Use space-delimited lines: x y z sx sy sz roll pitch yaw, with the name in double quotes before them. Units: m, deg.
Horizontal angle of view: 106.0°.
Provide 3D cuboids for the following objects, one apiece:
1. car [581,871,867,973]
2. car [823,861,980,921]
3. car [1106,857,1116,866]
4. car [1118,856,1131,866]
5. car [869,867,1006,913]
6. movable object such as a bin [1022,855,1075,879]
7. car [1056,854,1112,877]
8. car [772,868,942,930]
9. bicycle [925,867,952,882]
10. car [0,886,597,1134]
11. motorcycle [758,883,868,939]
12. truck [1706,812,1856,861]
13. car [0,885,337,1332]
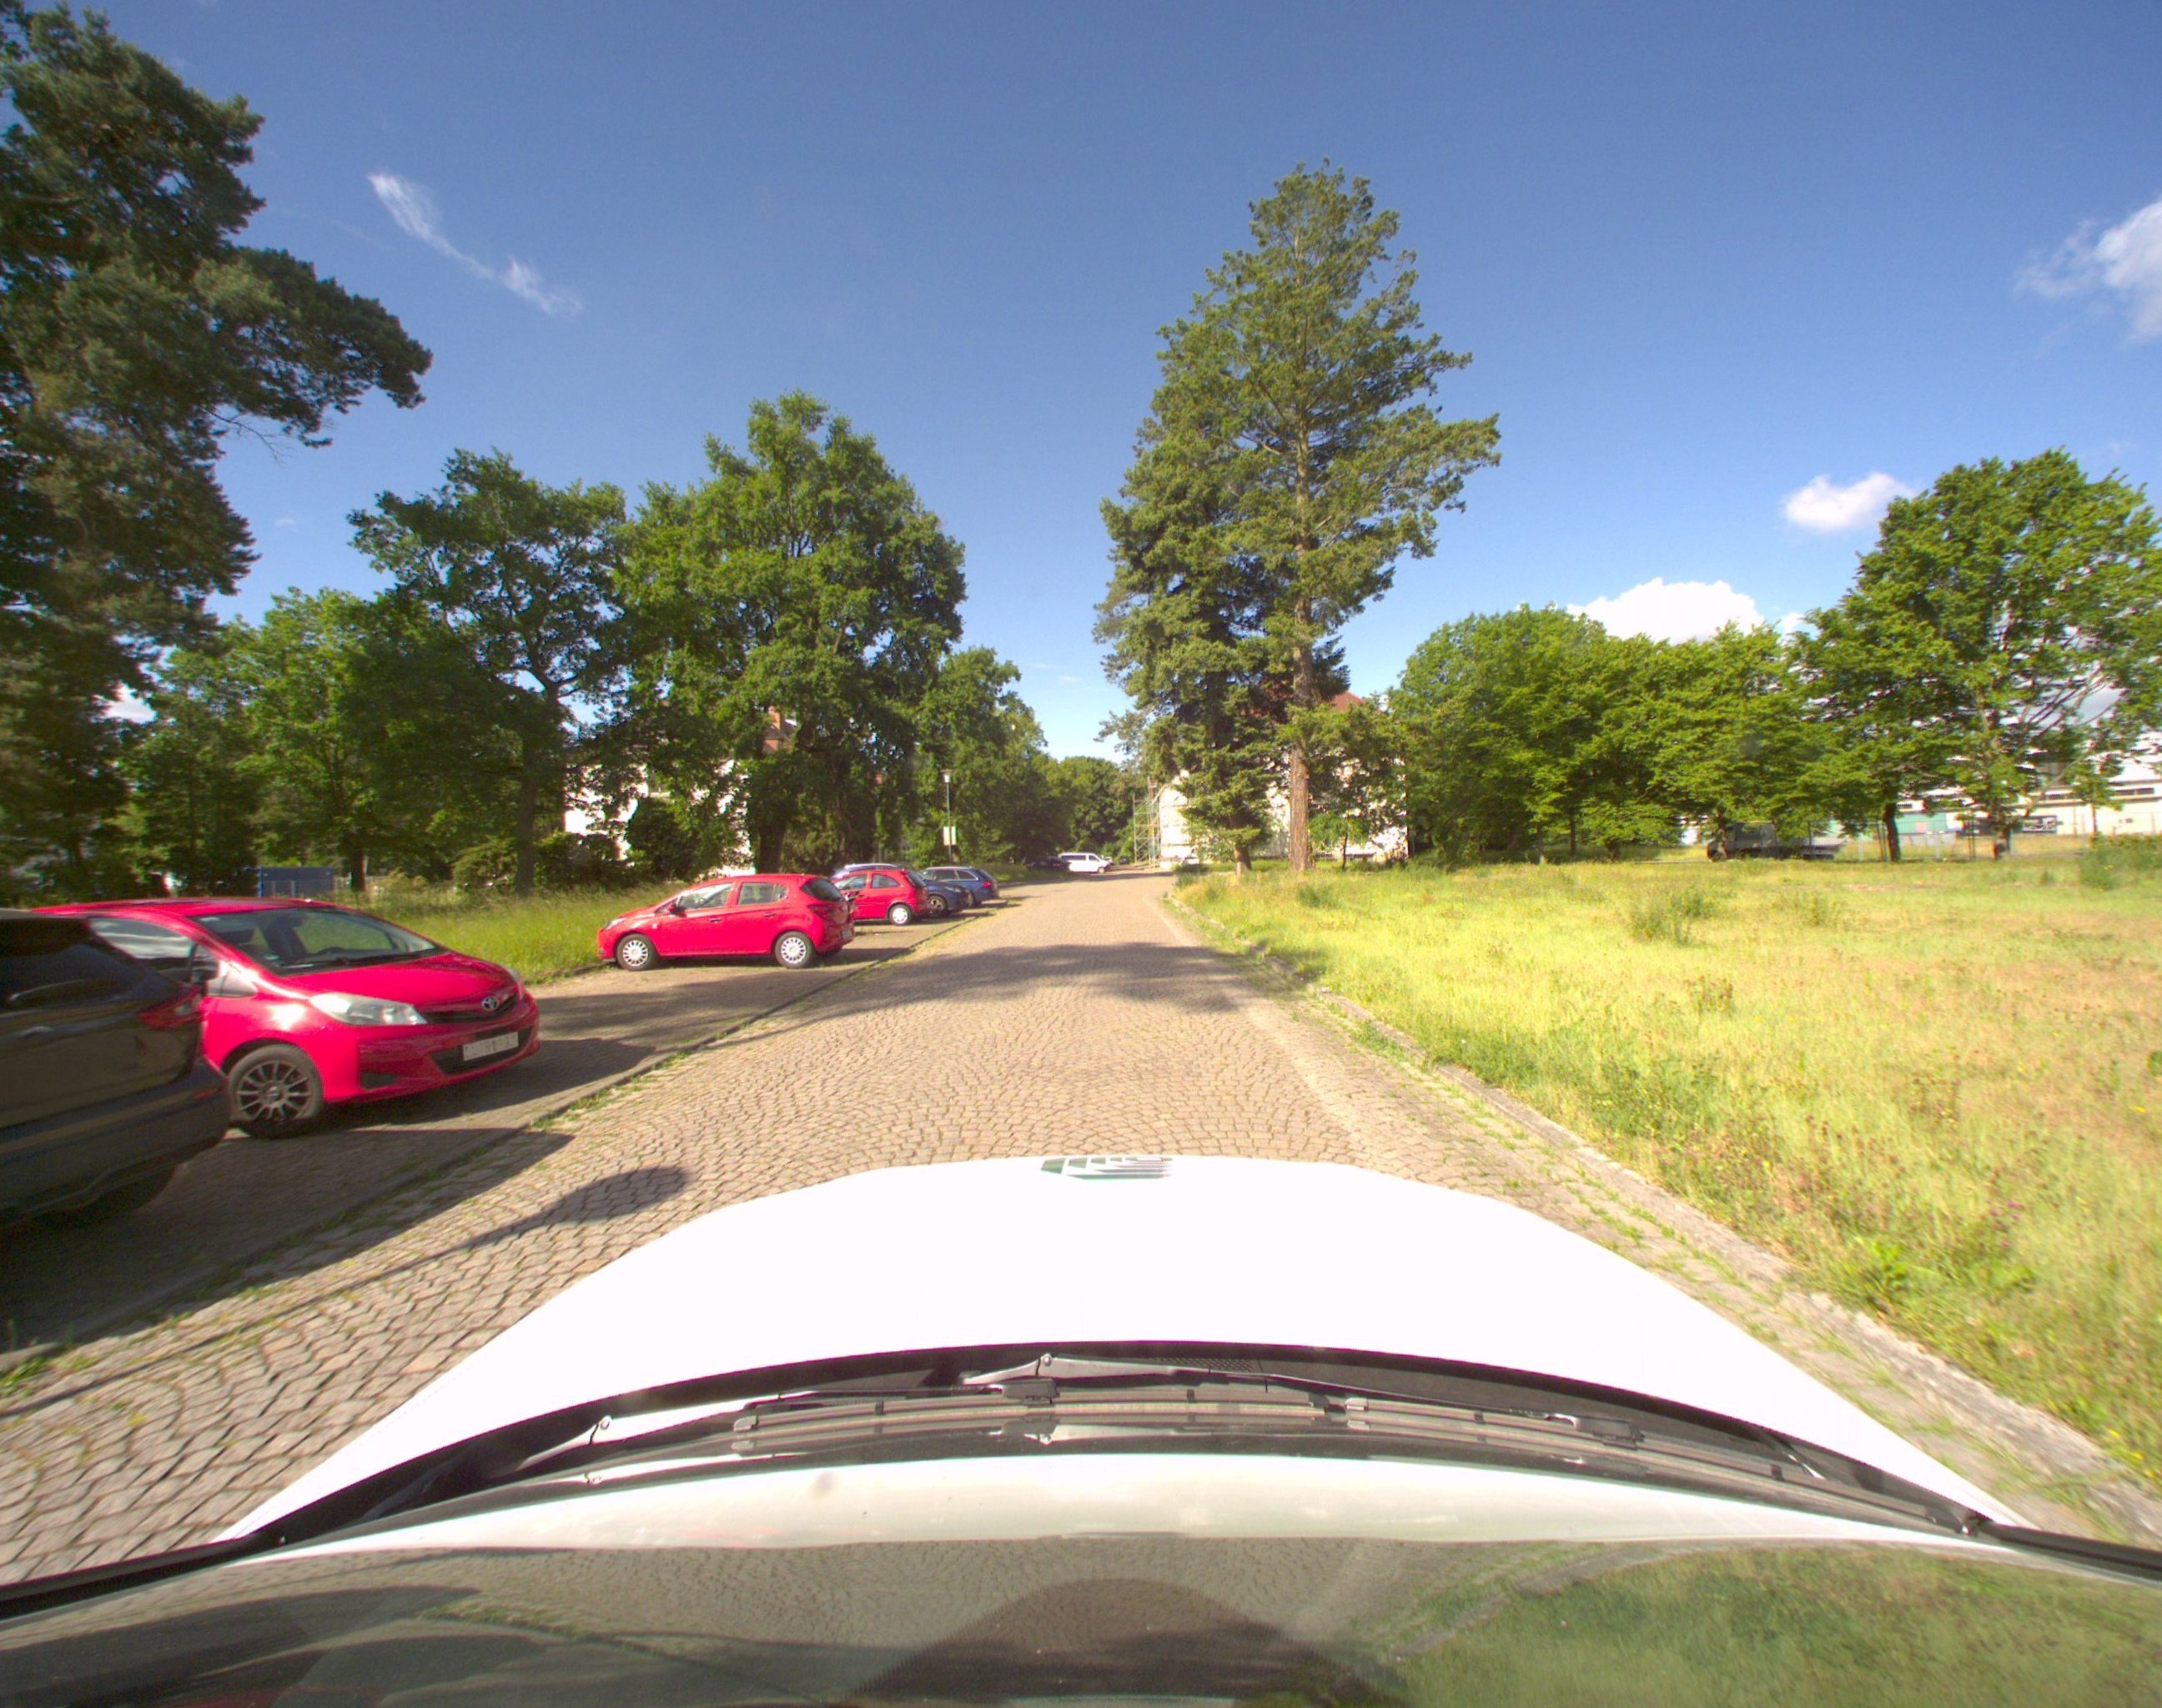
"car" -5.809 1.079 13.625 3.910 1.461 1.842 -1 0 0
"car" -5.178 1.054 23.903 4.120 1.579 1.885 -1 0 1
"car" 5.266 1.326 143.333 1.805 1.579 4.136 -3 0 1
"car" 7.670 1.241 143.586 1.964 1.668 4.087 -3 0 1
"car" -4.971 1.248 28.583 4.340 1.445 1.923 -1 0 4
"movable object such as a bin" -2.560 1.004 64.341 3.535 1.744 2.035 -3 -1 20
"car" 0.310 1.068 77.386 5.216 2.016 1.950 -2 -1 1
"car" -5.834 1.151 21.518 3.907 1.433 1.843 -1 0 2
"bicycle" -11.032 1.599 63.110 1.919 1.058 0.473 -4 0 -20
"car" -6.120 1.019 6.034 3.910 1.449 1.866 -1 0 0
"motorcycle" -5.938 1.267 18.124 2.233 1.162 0.577 -2 -1 2
"truck" 37.231 -0.845 43.704 2.225 2.424 6.887 -1 0 1
"car" -5.917 0.975 3.297 3.940 1.567 1.974 -1 0 0
